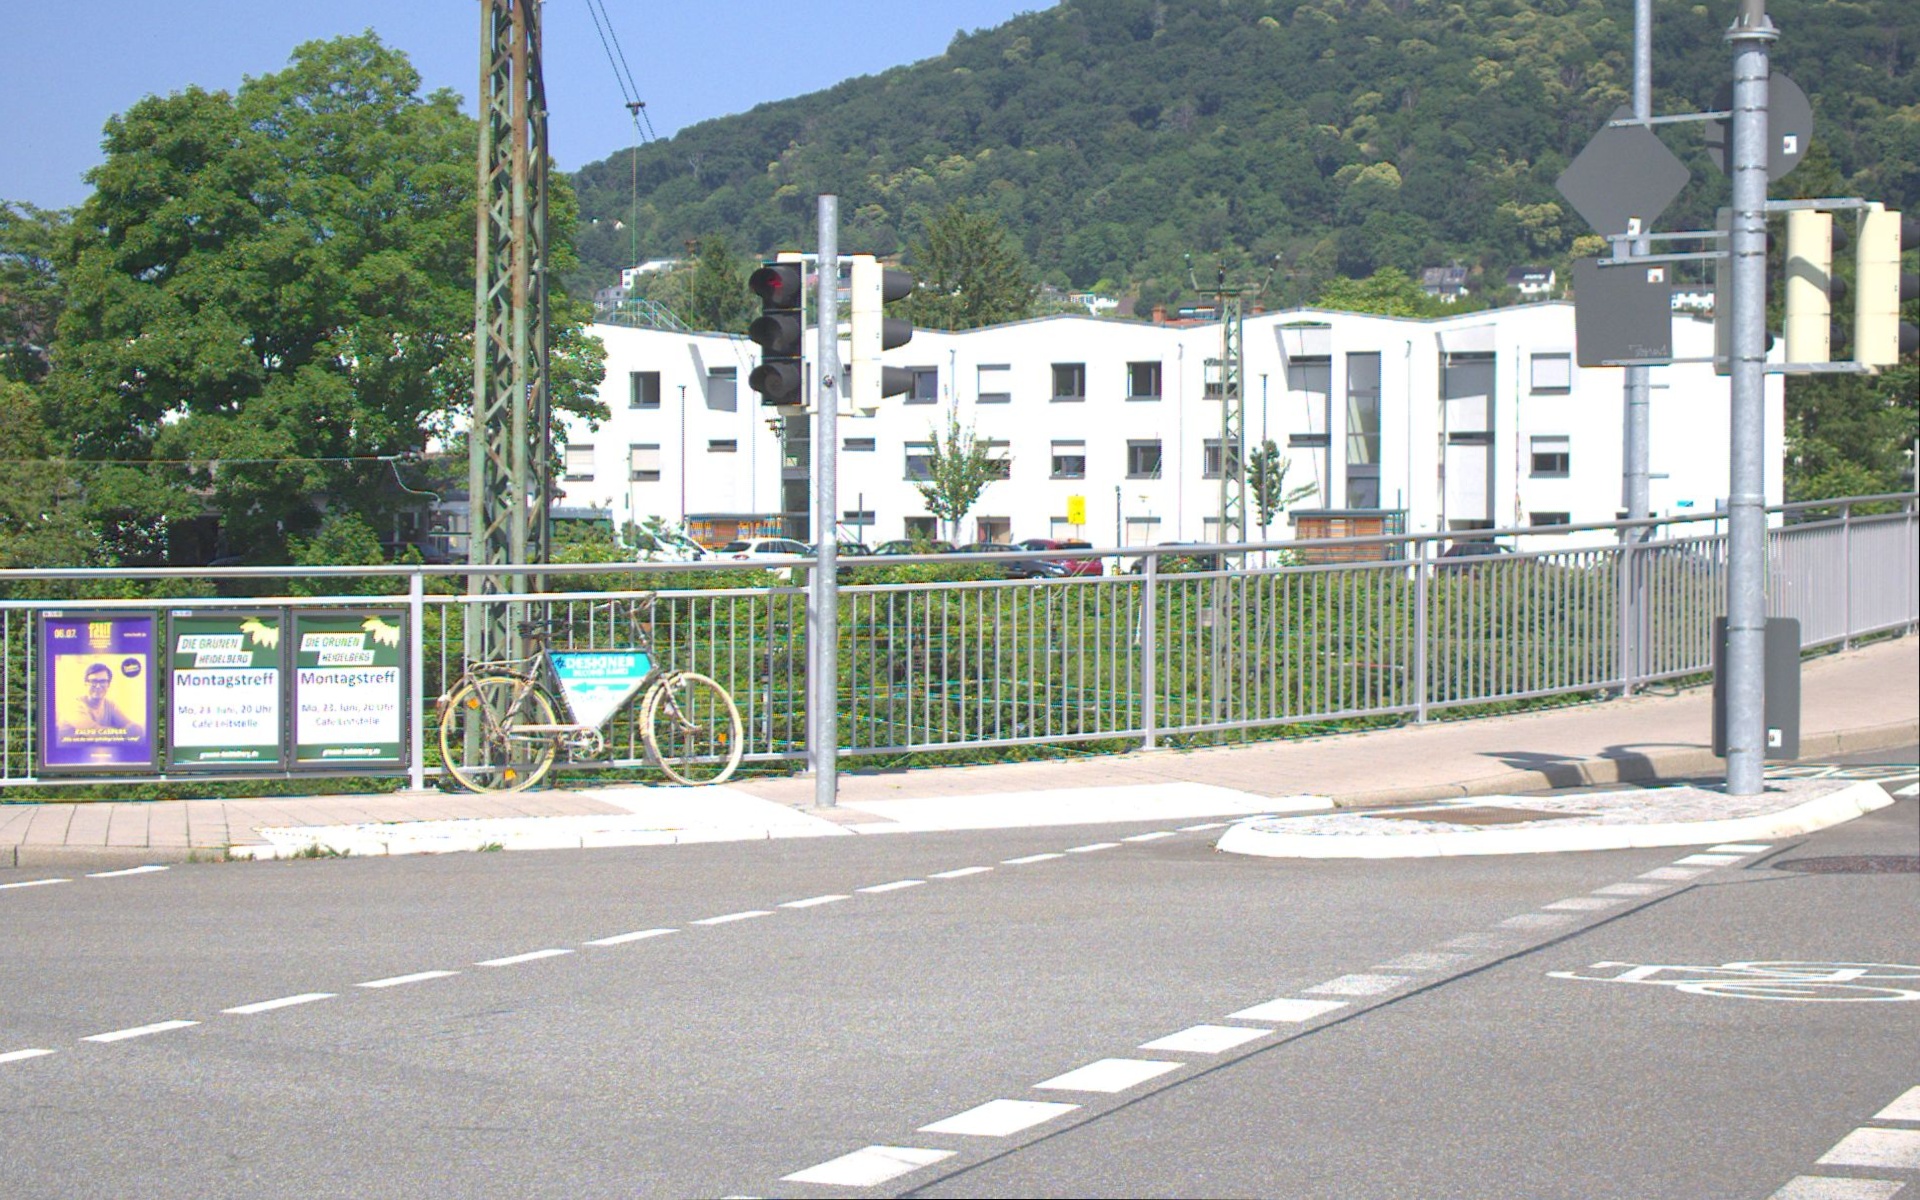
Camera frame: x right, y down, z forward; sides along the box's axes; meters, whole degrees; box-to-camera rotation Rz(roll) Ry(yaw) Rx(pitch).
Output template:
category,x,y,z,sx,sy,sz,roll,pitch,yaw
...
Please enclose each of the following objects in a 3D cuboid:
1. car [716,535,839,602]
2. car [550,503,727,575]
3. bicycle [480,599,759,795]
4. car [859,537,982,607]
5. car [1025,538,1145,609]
category,x,y,z,sx,sy,sz,roll,pitch,yaw
car,-5.700,-1.010,107.876,1.996,2.006,4.465,1,2,25
car,-9.600,-1.832,102.880,4.976,2.105,2.000,0,2,8
bicycle,-1.987,0.554,20.132,1.614,1.097,0.298,-1,2,-23
car,-1.176,-0.884,103.876,1.996,2.006,4.465,1,2,25
car,3.728,-0.809,101.616,1.996,2.006,4.465,1,2,25
